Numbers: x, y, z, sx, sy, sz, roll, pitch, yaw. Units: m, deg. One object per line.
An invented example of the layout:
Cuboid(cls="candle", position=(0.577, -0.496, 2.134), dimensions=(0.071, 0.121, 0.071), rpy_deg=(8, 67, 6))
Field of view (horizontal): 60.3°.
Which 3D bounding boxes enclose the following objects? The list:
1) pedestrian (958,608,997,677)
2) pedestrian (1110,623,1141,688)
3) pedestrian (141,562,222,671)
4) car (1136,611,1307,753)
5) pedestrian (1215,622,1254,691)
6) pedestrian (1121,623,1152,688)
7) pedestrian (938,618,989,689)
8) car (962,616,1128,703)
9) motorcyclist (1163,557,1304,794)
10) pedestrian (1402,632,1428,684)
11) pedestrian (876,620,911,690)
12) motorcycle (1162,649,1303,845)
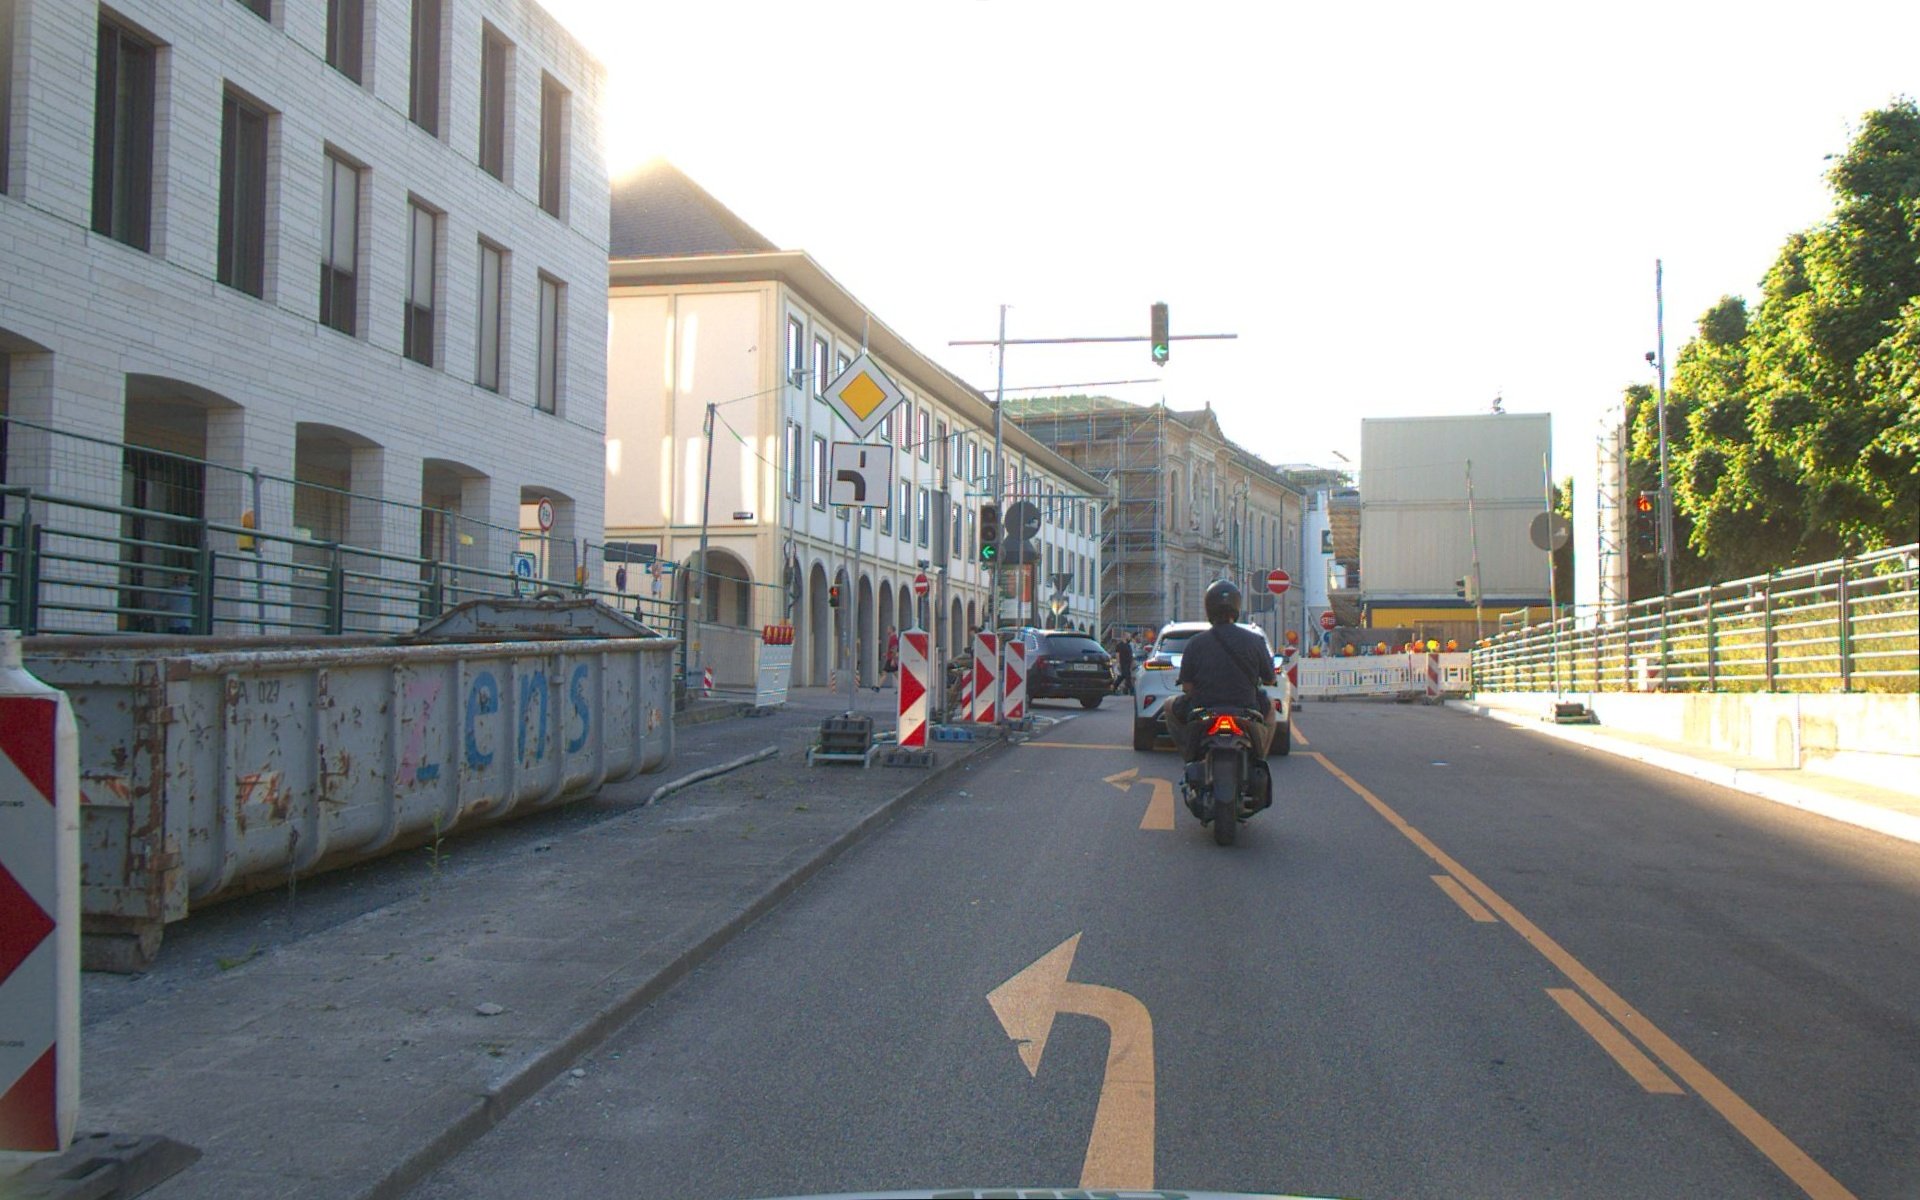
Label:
Cuboid(cls="pedestrian", position=(0.469, 1.137, 44.436), dimensions=(0.918, 1.809, 0.712), rpy_deg=(-1, 0, 11))
Cuboid(cls="pedestrian", position=(4.558, 1.535, 45.458), dimensions=(0.721, 1.746, 0.622), rpy_deg=(-2, -3, 15))
Cuboid(cls="pedestrian", position=(-11.285, 0.230, 23.989), dimensions=(0.656, 1.513, 0.799), rpy_deg=(-3, 0, 10))
Cuboid(cls="car", position=(3.168, 0.958, 20.139), dimensions=(1.819, 1.498, 4.003), rpy_deg=(1, -2, 9))
Cuboid(cls="pedestrian", position=(7.187, 1.492, 43.297), dimensions=(0.953, 1.759, 0.799), rpy_deg=(-2, -3, 11))
Cuboid(cls="pedestrian", position=(4.941, 1.560, 46.274), dimensions=(0.721, 1.802, 0.622), rpy_deg=(-2, -3, 15))
Cuboid(cls="pedestrian", position=(0.101, 1.409, 43.772), dimensions=(1.216, 1.833, 0.717), rpy_deg=(-1, 0, 11))
Cuboid(cls="car", position=(1.570, 1.158, 32.130), dimensions=(1.749, 1.578, 4.080), rpy_deg=(1, -2, -21))
Cuboid(cls="motorcyclist", position=(1.947, 0.511, 11.775), dimensions=(0.933, 1.587, 1.240), rpy_deg=(0, -1, 10))
Cuboid(cls="pedestrian", position=(11.894, 1.523, 43.224), dimensions=(0.605, 1.322, 0.494), rpy_deg=(2, -2, 14))
Cuboid(cls="pedestrian", position=(-1.772, 1.460, 43.991), dimensions=(0.756, 1.833, 0.712), rpy_deg=(-1, 0, 11))
Cuboid(cls="motorcycle", position=(1.956, 0.972, 11.849), dimensions=(0.886, 1.204, 2.581), rpy_deg=(0, -1, 10))
